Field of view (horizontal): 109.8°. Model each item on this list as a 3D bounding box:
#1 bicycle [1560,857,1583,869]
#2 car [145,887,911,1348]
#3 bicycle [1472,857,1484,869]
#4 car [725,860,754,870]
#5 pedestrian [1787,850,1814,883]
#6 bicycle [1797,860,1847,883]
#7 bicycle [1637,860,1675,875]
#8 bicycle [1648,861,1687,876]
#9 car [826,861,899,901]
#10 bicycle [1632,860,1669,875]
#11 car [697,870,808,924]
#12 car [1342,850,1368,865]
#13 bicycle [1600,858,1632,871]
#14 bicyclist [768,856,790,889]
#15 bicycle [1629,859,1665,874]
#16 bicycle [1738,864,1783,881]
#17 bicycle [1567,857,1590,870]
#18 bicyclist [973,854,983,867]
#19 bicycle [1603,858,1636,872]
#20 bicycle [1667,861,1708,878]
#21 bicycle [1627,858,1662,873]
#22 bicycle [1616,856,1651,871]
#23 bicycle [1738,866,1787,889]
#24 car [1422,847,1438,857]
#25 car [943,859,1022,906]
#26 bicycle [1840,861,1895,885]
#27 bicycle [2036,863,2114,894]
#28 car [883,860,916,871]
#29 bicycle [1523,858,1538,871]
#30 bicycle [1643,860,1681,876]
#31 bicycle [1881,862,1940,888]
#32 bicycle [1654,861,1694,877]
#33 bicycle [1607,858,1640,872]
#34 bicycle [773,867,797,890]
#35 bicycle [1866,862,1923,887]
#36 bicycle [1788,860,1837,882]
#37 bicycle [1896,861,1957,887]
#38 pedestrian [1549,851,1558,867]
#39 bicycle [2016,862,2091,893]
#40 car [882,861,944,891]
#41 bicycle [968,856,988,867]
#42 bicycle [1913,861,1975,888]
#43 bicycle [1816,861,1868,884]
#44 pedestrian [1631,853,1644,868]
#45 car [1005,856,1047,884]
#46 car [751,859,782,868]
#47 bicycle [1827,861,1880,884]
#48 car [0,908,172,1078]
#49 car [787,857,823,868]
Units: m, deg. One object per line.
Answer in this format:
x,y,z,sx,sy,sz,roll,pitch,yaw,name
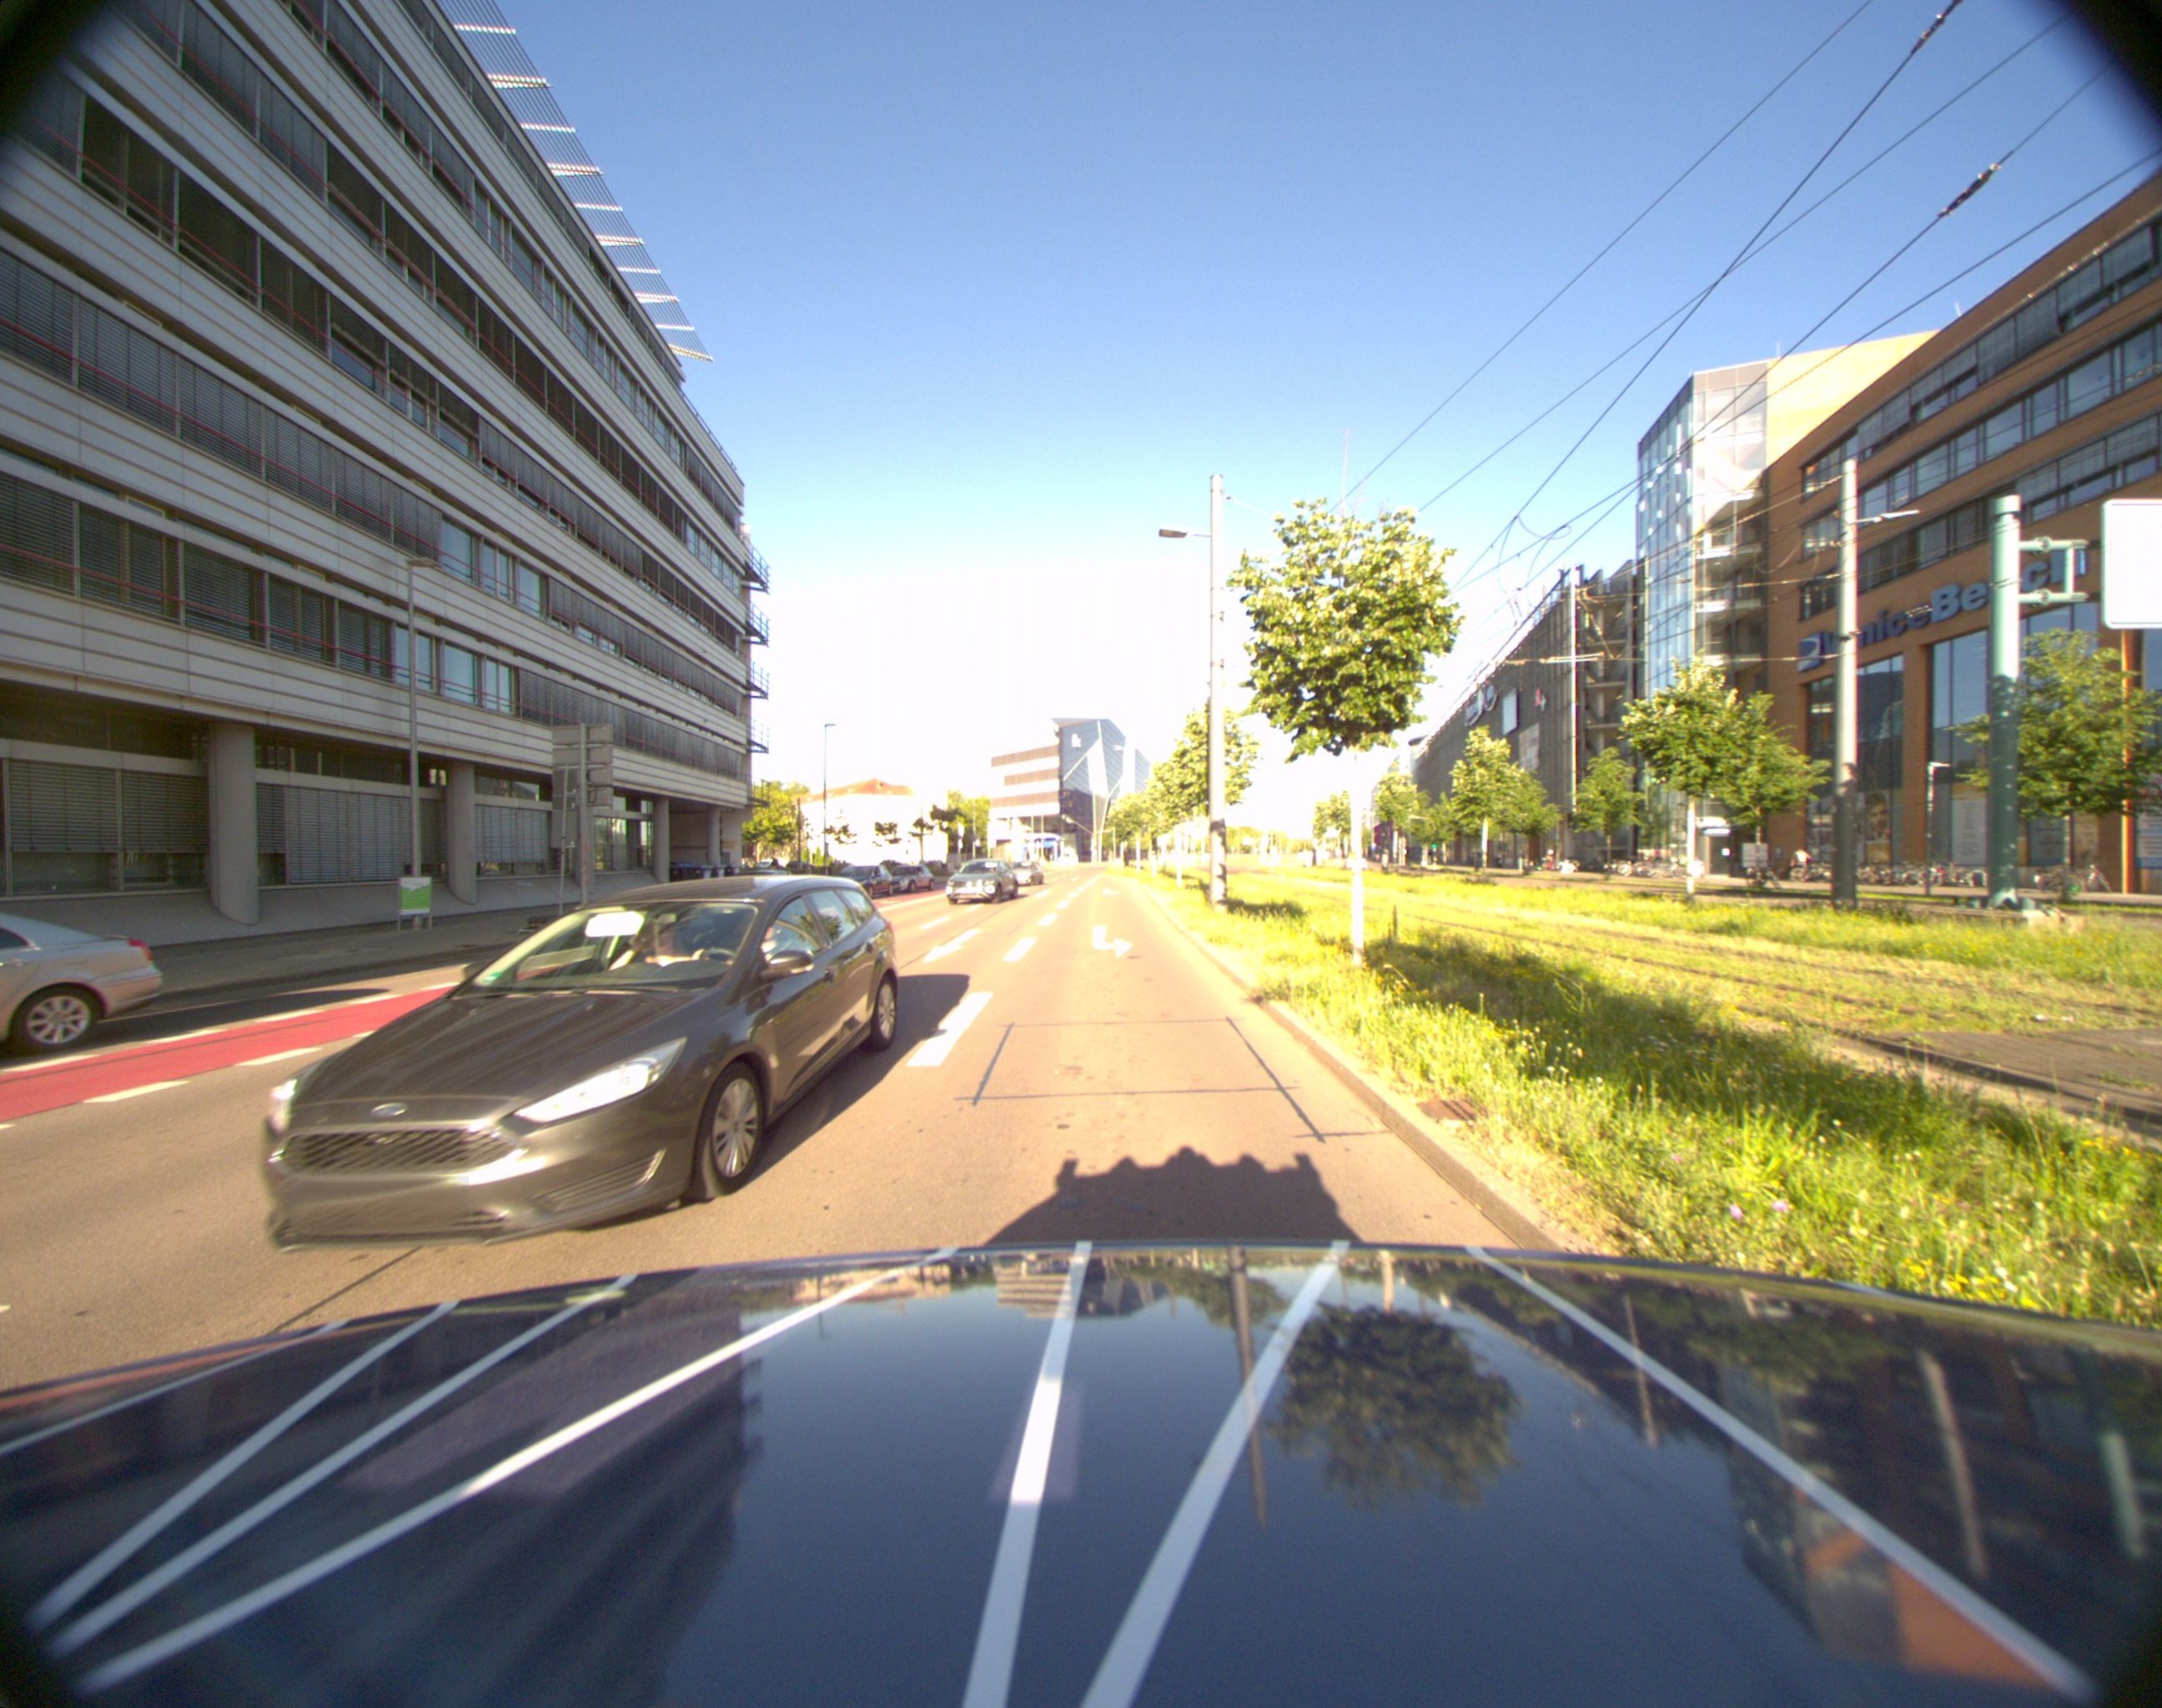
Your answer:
37.944,0.696,58.805,1.398,0.921,0.462,-1,1,17,bicycle
-2.439,1.036,4.787,1.690,1.425,4.153,-2,0,1,car
31.576,0.711,60.477,0.386,0.918,1.773,-1,1,13,bicycle
-52.058,1.671,115.733,3.990,1.368,1.938,-1,1,27,car
36.500,0.649,38.553,0.746,1.659,0.676,-1,1,7,pedestrian
35.516,0.841,36.413,1.769,1.043,0.491,-1,1,8,bicycle
35.295,0.838,46.648,1.768,0.921,0.565,-1,1,17,bicycle
34.913,0.862,45.246,1.768,0.921,0.565,-1,1,17,bicycle
-9.339,1.118,32.822,1.735,1.437,4.000,-3,1,3,car
35.462,0.827,47.310,1.768,0.921,0.565,-1,1,17,bicycle
-10.064,1.277,23.643,1.715,1.432,4.111,-3,-2,-2,car
25.885,0.282,71.761,1.809,1.320,4.409,0,1,13,car
36.884,0.719,52.407,1.768,0.921,0.491,-1,1,17,bicycle
-15.180,0.915,38.204,0.685,1.609,0.991,-1,1,2,bicyclist
35.755,0.813,47.998,1.768,0.921,0.565,-1,1,17,bicycle
37.329,1.000,41.781,1.768,0.921,0.565,-1,1,17,bicycle
37.575,0.721,57.388,1.398,0.921,0.462,-1,1,17,bicycle
-13.320,0.824,98.101,1.006,1.598,0.880,-1,1,14,bicyclist
36.694,0.748,51.803,1.768,0.921,0.491,-1,1,17,bicycle
34.617,0.888,43.381,1.768,0.921,0.565,-1,1,17,bicycle
36.000,0.712,48.556,1.768,0.921,0.491,-1,1,17,bicycle
36.308,0.636,49.956,1.768,0.921,0.491,-1,1,17,bicycle
28.027,0.949,31.269,0.464,0.863,1.771,-1,0,1,bicycle
54.238,-0.290,118.118,1.582,1.521,3.754,-2,1,13,car
-3.452,0.976,27.336,1.748,1.496,3.883,-1,0,9,car
35.382,0.863,34.196,1.769,1.043,0.491,-1,1,8,bicycle
34.074,0.833,26.059,1.769,1.043,0.491,-1,1,8,bicycle
-24.973,1.550,104.400,3.991,1.414,2.003,-1,1,20,car
32.654,0.763,55.197,0.386,0.863,1.773,-1,1,13,bicycle
35.142,0.848,45.980,1.768,0.921,0.565,-1,1,17,bicycle
35.165,0.887,32.220,1.769,1.043,0.491,-1,1,8,bicycle
34.660,0.878,44.444,1.768,0.921,0.565,-1,1,17,bicycle
36.490,0.760,51.128,1.768,0.921,0.565,-1,1,17,bicycle
-14.937,1.233,38.349,0.505,1.052,1.702,2,1,2,bicycle
35.250,0.878,32.920,1.769,1.043,0.491,-1,1,8,bicycle
35.599,0.833,37.011,1.769,1.043,0.491,-1,1,8,bicycle
35.049,0.820,31.509,1.769,1.043,0.491,-1,1,8,bicycle
38.385,0.396,61.679,0.448,1.282,0.630,-1,1,13,pedestrian
34.158,0.825,26.710,1.769,1.043,0.491,-1,1,8,bicycle
-8.508,1.133,38.835,1.437,1.437,4.005,1,-1,13,car
-13.305,0.982,98.085,2.368,1.304,0.952,-1,1,13,bicycle
34.992,0.828,30.825,1.769,1.043,0.491,-1,1,8,bicycle
35.559,0.847,35.505,1.769,1.043,0.491,-1,1,8,bicycle
40.731,0.463,55.623,0.629,1.048,0.450,-1,1,13,pedestrian
-3.063,0.894,43.100,1.619,1.421,3.769,-2,1,7,car
-46.571,1.381,112.578,3.990,1.237,2.003,-1,1,26,car
35.461,0.855,34.873,1.769,1.043,0.491,-1,1,8,bicycle
-10.538,1.304,5.832,1.755,1.423,4.488,-1,0,-1,car
-39.851,1.242,109.622,4.516,1.414,2.002,-1,1,17,car
